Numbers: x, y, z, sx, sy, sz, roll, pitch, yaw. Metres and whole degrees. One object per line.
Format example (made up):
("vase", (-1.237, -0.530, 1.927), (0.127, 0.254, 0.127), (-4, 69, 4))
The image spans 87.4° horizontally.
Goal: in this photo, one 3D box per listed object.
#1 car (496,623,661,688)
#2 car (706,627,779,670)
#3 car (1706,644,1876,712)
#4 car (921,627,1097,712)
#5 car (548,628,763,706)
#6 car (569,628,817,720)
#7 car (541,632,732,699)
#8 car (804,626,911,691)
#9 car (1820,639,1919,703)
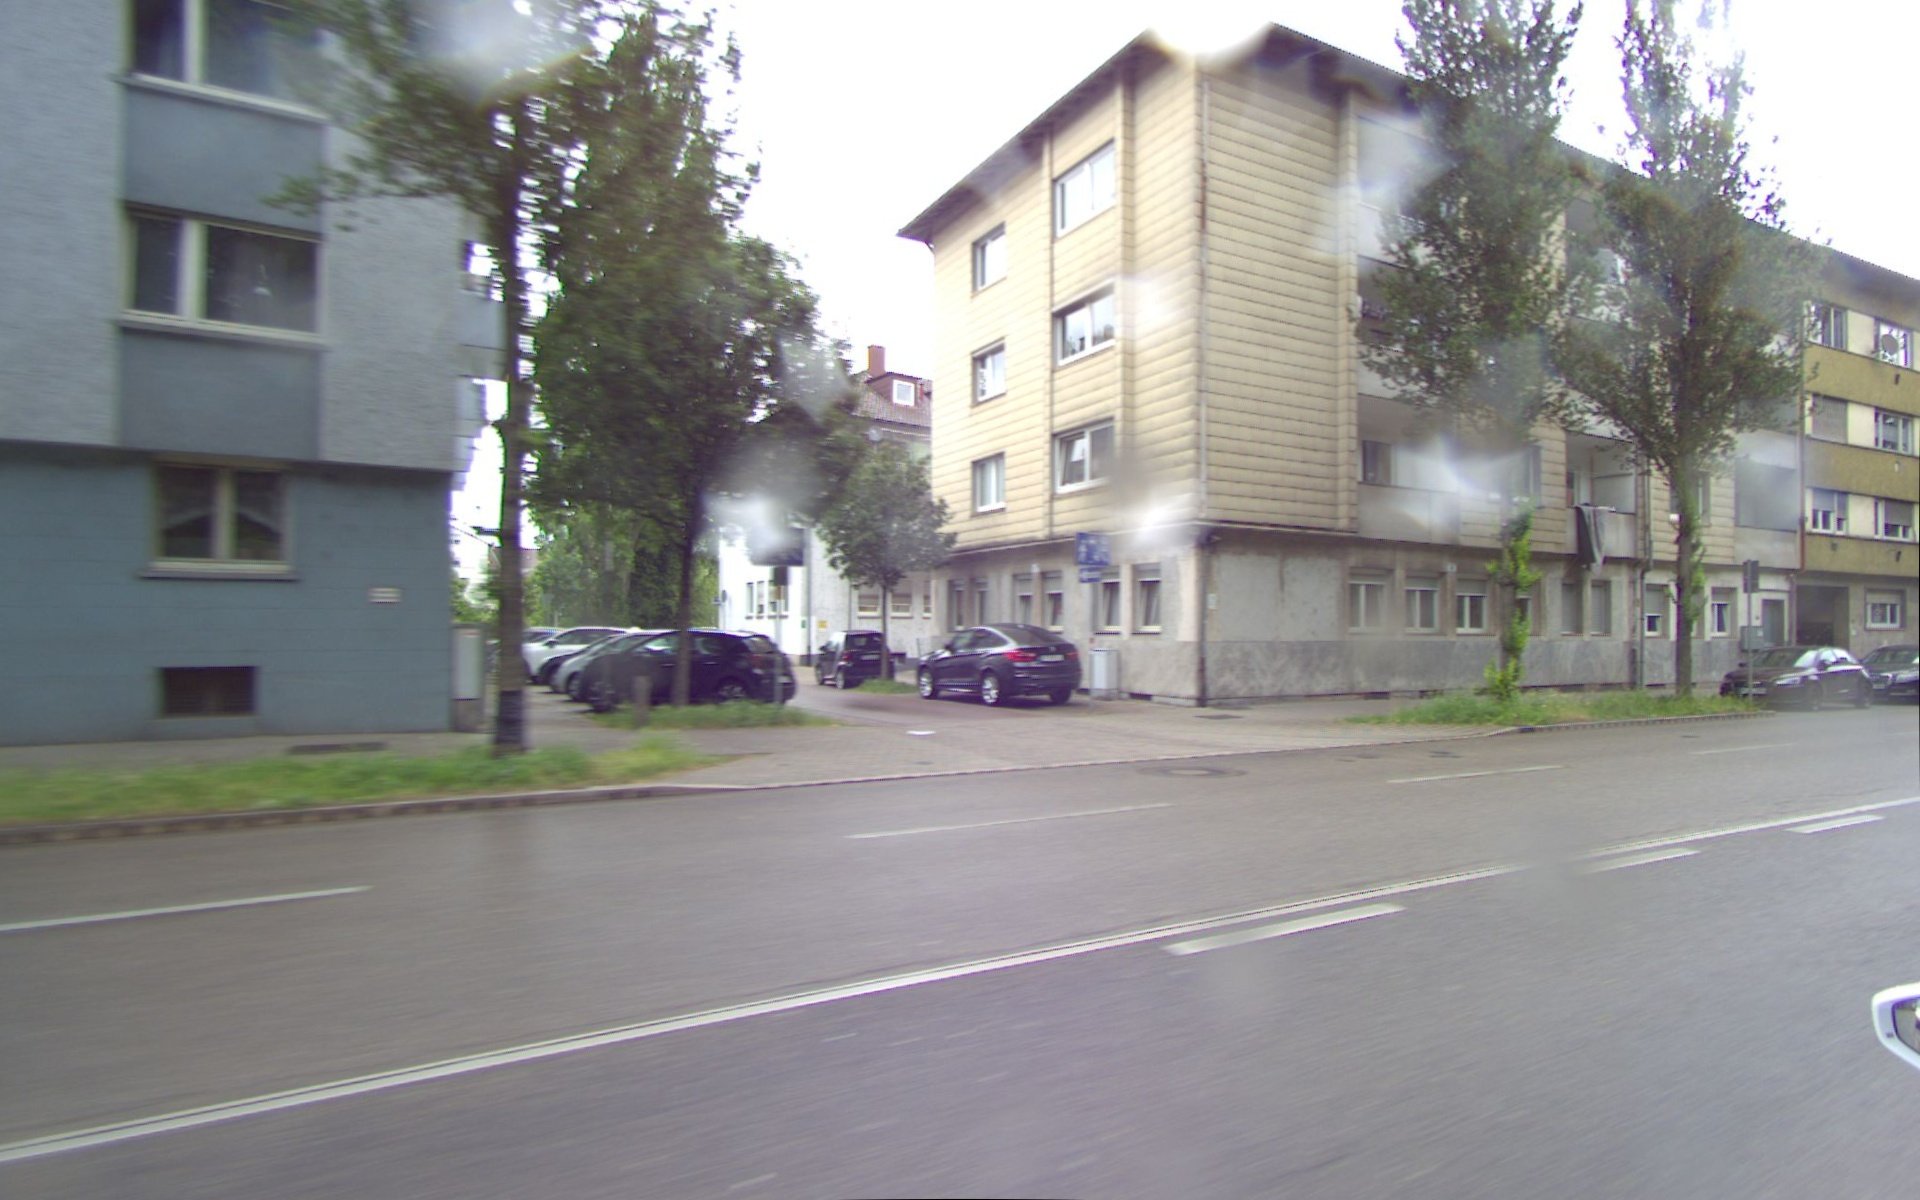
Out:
("car", (-10.651, 1.526, 28.255), (3.922, 1.747, 1.820), (0, -1, -1))
("car", (-8.626, 1.868, 39.635), (1.690, 1.572, 3.969), (-1, -1, -30))
("car", (19.022, 1.723, 22.970), (3.938, 1.405, 1.620), (1, -2, -28))
("car", (0.910, 1.376, 21.207), (1.902, 1.600, 4.133), (0, -2, -28))
("car", (-6.337, 1.375, 21.135), (3.919, 1.514, 1.796), (0, -2, 9))
("car", (-4.728, 1.294, 17.959), (3.919, 1.513, 1.715), (0, -3, 15))
("car", (-7.674, 1.521, 24.004), (3.919, 1.514, 1.877), (0, -2, 9))
("car", (-2.948, 1.582, 28.209), (1.688, 1.653, 3.973), (0, -1, -27))
("car", (24.217, 1.759, 25.714), (4.732, 1.508, 1.810), (1, -3, -29))
